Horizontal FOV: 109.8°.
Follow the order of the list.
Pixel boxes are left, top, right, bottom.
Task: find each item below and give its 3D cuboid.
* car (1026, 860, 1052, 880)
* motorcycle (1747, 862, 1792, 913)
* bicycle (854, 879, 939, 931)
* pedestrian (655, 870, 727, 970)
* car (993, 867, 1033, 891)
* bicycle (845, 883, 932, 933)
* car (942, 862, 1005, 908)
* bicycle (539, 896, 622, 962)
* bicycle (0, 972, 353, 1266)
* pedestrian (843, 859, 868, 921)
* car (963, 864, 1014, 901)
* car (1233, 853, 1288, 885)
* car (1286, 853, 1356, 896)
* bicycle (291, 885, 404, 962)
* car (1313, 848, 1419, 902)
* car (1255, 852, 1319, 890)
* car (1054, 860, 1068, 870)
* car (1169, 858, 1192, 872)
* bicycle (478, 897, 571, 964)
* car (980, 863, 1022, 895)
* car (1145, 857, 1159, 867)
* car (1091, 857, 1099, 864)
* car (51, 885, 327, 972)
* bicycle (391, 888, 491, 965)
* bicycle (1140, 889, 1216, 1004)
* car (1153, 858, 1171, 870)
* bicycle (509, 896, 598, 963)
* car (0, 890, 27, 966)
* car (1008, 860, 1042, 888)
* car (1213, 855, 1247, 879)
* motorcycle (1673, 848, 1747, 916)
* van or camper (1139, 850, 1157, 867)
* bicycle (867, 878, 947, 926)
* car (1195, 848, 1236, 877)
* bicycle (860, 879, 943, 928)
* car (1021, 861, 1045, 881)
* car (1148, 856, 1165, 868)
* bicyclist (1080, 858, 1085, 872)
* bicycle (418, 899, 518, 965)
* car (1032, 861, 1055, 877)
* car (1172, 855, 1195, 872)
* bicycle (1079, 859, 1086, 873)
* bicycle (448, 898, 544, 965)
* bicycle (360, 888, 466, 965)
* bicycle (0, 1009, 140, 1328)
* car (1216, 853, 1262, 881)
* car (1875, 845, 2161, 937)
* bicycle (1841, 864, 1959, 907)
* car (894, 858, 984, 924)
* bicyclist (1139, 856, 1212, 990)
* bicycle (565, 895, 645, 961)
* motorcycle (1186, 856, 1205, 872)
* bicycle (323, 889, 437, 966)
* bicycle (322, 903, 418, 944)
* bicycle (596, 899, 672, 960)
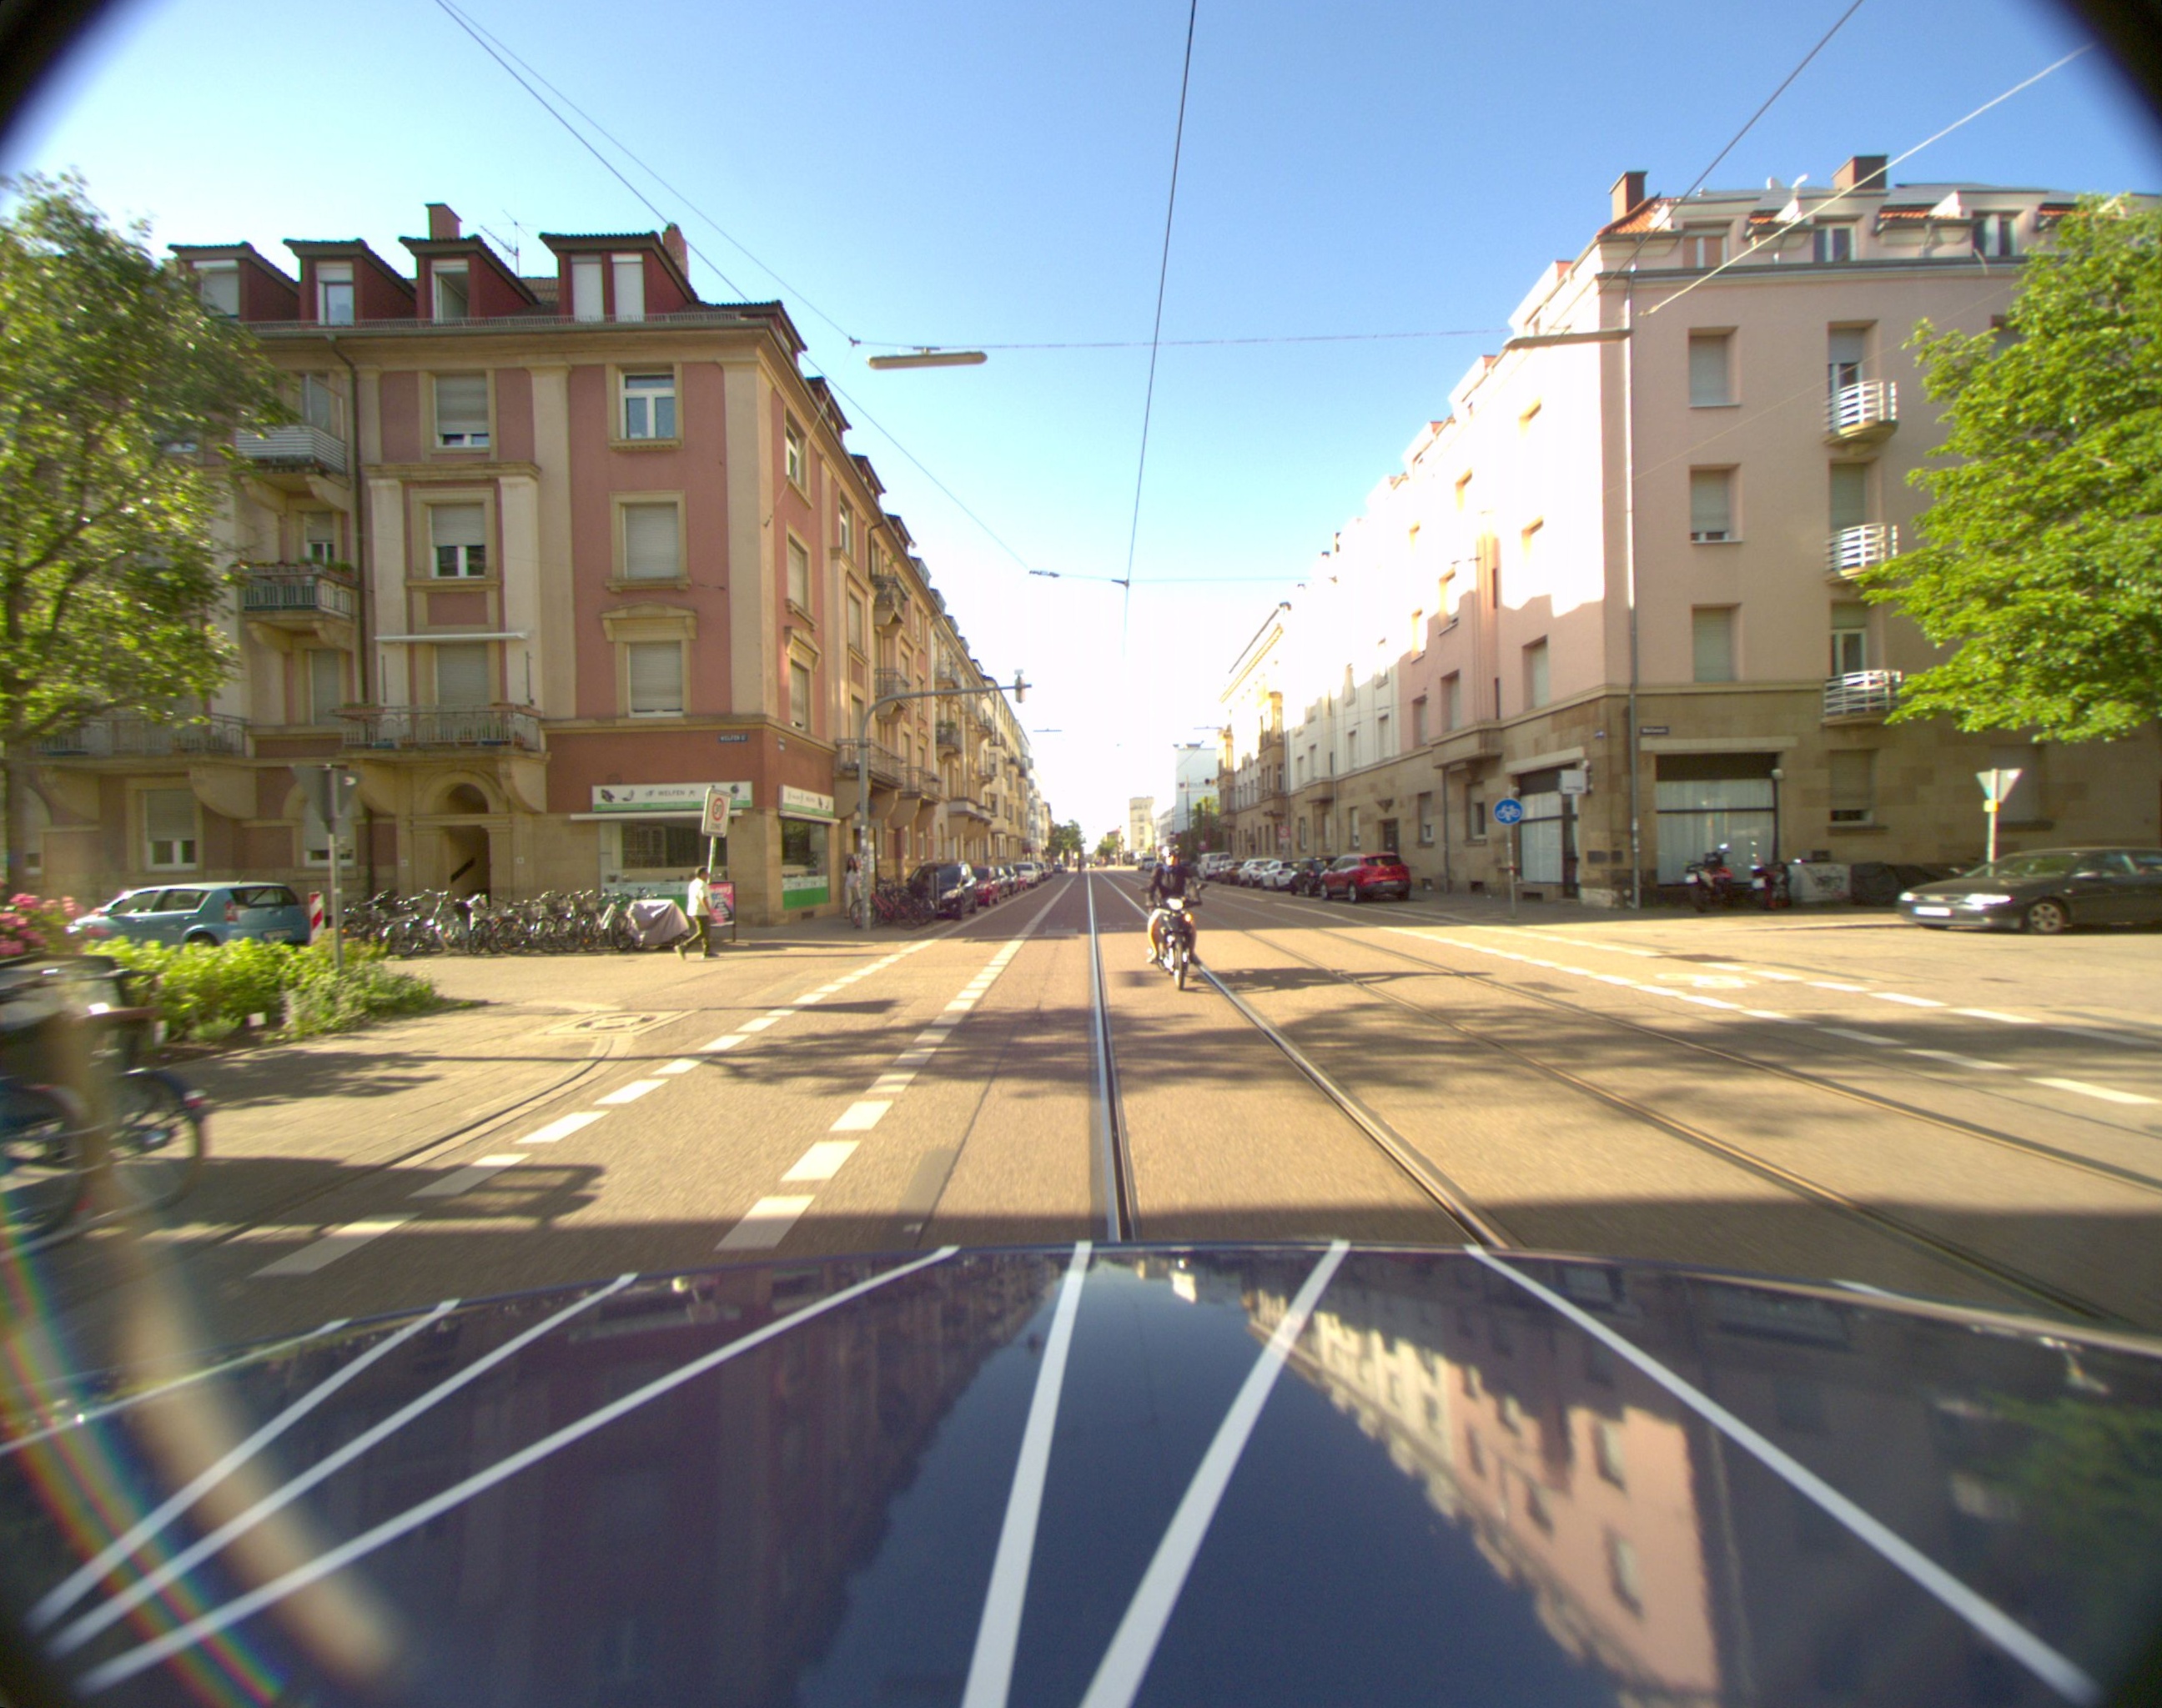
[{"bbox_3d":[-3.690,1.360,67.317,1.863,1.656,4.562,-1,0,2],"label":"car"},{"bbox_3d":[15.433,0.731,17.018,2.039,1.029,0.555,-1,0,-43],"label":"motorcycle"},{"bbox_3d":[-4.522,1.245,18.688,1.964,1.220,0.527,0,0,1],"label":"bicycle"},{"bbox_3d":[-6.704,1.116,13.084,0.730,1.624,0.704,-3,2,28],"label":"pedestrian"},{"bbox_3d":[-3.962,1.418,44.788,1.658,1.241,4.506,-1,0,3],"label":"car"},{"bbox_3d":[-4.566,1.279,18.109,1.928,1.154,0.527,0,0,1],"label":"bicycle"},{"bbox_3d":[-4.059,1.140,29.231,1.757,1.585,3.730,-1,0,2],"label":"car"},{"bbox_3d":[-9.942,1.454,15.157,0.469,1.148,1.728,-1,0,0],"label":"bicycle"},{"bbox_3d":[-5.151,1.261,3.859,2.091,1.148,0.848,1,0,1],"label":"bicycle"},{"bbox_3d":[-6.247,0.989,21.036,0.514,1.677,0.448,-1,0,0],"label":"pedestrian"},{"bbox_3d":[-4.113,1.236,34.312,1.658,1.504,4.474,-1,0,1],"label":"car"},{"bbox_3d":[9.708,0.780,41.449,1.776,1.538,4.365,-3,0,-1],"label":"car"},{"bbox_3d":[9.566,0.792,30.492,1.787,1.543,3.019,-3,0,1],"label":"car"},{"bbox_3d":[-14.618,1.348,15.204,0.545,1.374,1.728,-1,0,0],"label":"bicycle"},{"bbox_3d":[9.566,0.669,25.909,1.788,1.597,4.397,-3,0,-1],"label":"car"},{"bbox_3d":[9.774,0.790,36.412,1.788,1.612,4.179,-3,0,-1],"label":"car"},{"bbox_3d":[-2.890,1.595,110.943,1.714,1.399,4.359,1,0,2],"label":"car"},{"bbox_3d":[10.544,1.156,80.750,1.787,1.306,4.221,-3,0,1],"label":"car"},{"bbox_3d":[-11.050,1.489,15.158,0.545,1.148,1.728,-1,0,0],"label":"bicycle"},{"bbox_3d":[-4.077,1.260,39.264,1.658,1.474,4.474,-1,0,0],"label":"car"},{"bbox_3d":[10.653,1.200,114.058,1.787,1.390,4.445,-3,0,2],"label":"car"},{"bbox_3d":[3.355,1.622,183.995,1.970,1.577,4.000,-2,0,1],"label":"car"},{"bbox_3d":[-17.615,1.437,15.132,3.501,1.488,1.641,-1,0,0],"label":"car"},{"bbox_3d":[-12.750,1.413,15.206,0.491,1.374,1.728,-1,0,0],"label":"bicycle"},{"bbox_3d":[1.146,1.073,9.331,0.767,1.191,1.752,-1,0,3],"label":"bicycle"},{"bbox_3d":[10.562,1.235,99.234,1.787,1.437,4.842,-3,0,1],"label":"car"},{"bbox_3d":[-10.477,1.472,15.166,0.545,1.148,1.728,-1,0,0],"label":"bicycle"},{"bbox_3d":[-24.262,1.584,15.153,4.067,1.542,1.695,-1,0,0],"label":"car"},{"bbox_3d":[-3.663,1.290,50.468,1.847,1.681,4.505,-1,0,1],"label":"car"},{"bbox_3d":[10.045,0.835,51.461,1.607,1.464,3.646,-3,0,1],"label":"car"},{"bbox_3d":[13.964,0.588,16.930,0.948,1.410,2.029,-1,0,31],"label":"motorcycle"},{"bbox_3d":[10.692,0.674,121.124,2.177,2.452,6.232,-3,0,0],"label":"van or camper"},{"bbox_3d":[-4.531,1.243,19.821,1.964,1.220,0.527,0,0,1],"label":"bicycle"},{"bbox_3d":[9.946,0.639,56.682,1.978,1.937,5.252,-3,0,0],"label":"car"},{"bbox_3d":[-4.533,1.244,19.249,1.964,1.220,0.527,0,0,1],"label":"bicycle"},{"bbox_3d":[-3.858,1.363,61.953,1.742,1.433,4.032,-1,0,-2],"label":"car"},{"bbox_3d":[10.410,1.133,105.021,1.788,1.472,4.700,-3,0,0],"label":"car"},{"bbox_3d":[0.186,1.326,94.645,0.509,1.692,0.845,-2,0,0],"label":"bicyclist"},{"bbox_3d":[-12.202,1.525,15.195,0.545,1.148,1.728,-1,0,0],"label":"bicycle"},{"bbox_3d":[-3.654,1.444,74.496,1.863,1.447,4.710,-1,0,2],"label":"car"},{"bbox_3d":[10.105,0.884,75.133,1.787,1.556,4.611,-3,0,3],"label":"car"},{"bbox_3d":[0.218,1.438,94.557,0.775,1.700,1.937,-2,0,0],"label":"bicycle"},{"bbox_3d":[-11.620,1.509,15.167,0.545,1.148,1.728,-1,0,0],"label":"bicycle"},{"bbox_3d":[-13.316,1.411,15.211,0.545,1.374,1.728,-1,0,0],"label":"bicycle"},{"bbox_3d":[-5.138,1.255,3.172,1.847,1.148,0.469,2,0,1],"label":"bicycle"},{"bbox_3d":[9.658,0.786,46.772,1.788,1.514,4.360,-3,0,0],"label":"car"},{"bbox_3d":[16.395,0.595,12.871,3.997,1.385,1.748,-1,-1,0],"label":"car"},{"bbox_3d":[18.379,0.702,17.076,1.788,0.927,0.615,-1,0,9],"label":"bicycle"},{"bbox_3d":[-4.171,1.019,23.048,1.757,1.725,4.507,2,0,1],"label":"car"},{"bbox_3d":[1.127,0.802,9.278,0.774,1.531,0.939,-1,0,2],"label":"bicyclist"},{"bbox_3d":[-9.444,1.433,15.145,0.469,1.148,1.728,-1,0,0],"label":"bicycle"},{"bbox_3d":[10.298,0.921,68.473,0.884,1.343,1.961,-2,0,33],"label":"motorcycle"},{"bbox_3d":[-13.927,1.419,15.168,0.628,1.374,1.728,-1,0,0],"label":"bicycle"},{"bbox_3d":[-16.371,1.599,17.515,1.727,0.874,0.490,-1,0,0],"label":"bicycle"},{"bbox_3d":[-8.932,1.480,15.259,0.469,1.043,1.728,-1,0,0],"label":"bicycle"}]
